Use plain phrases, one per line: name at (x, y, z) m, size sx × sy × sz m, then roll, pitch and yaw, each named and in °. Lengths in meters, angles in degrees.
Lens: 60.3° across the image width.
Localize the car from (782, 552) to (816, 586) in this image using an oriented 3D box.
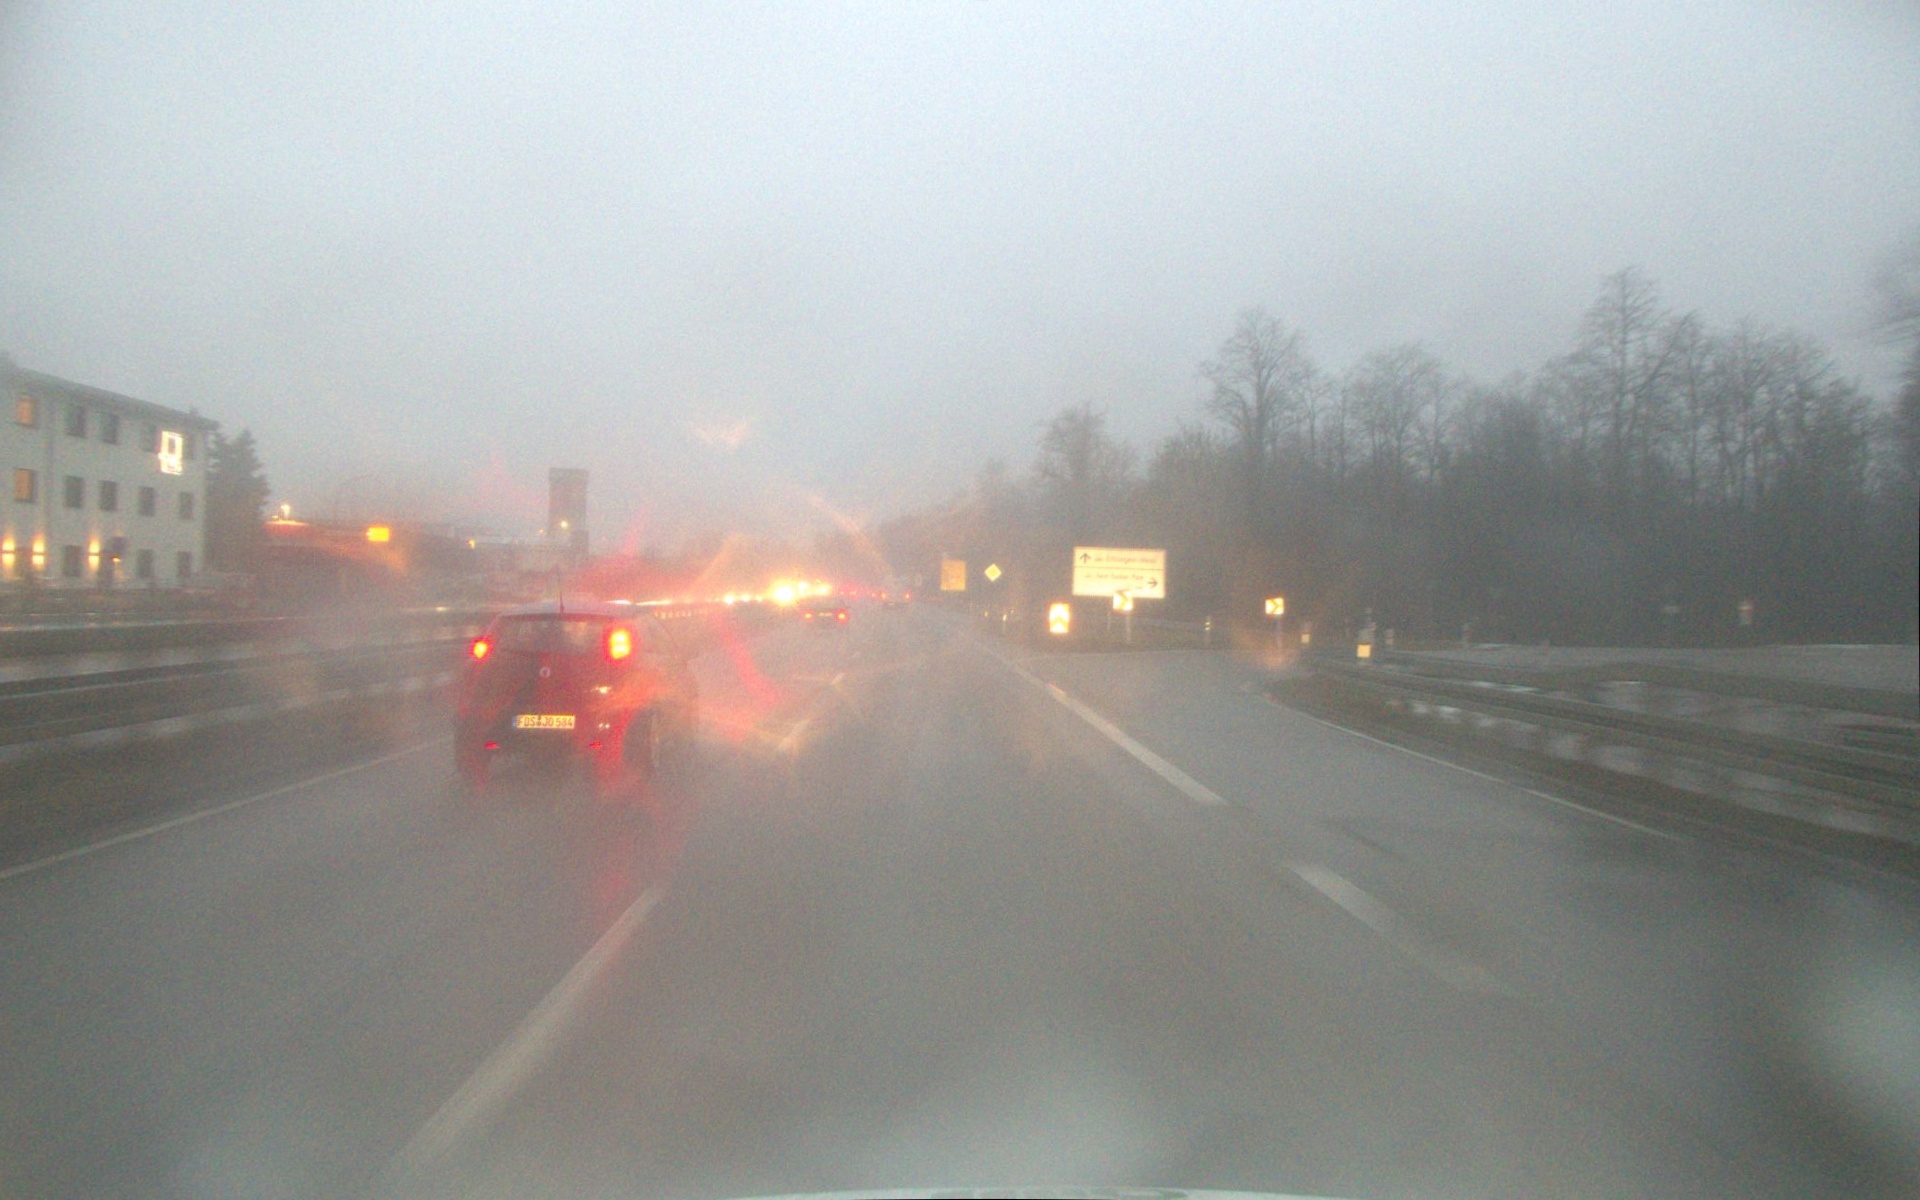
car at (-10.996, -2.105, 112.448) m, size 2.083 × 2.157 × 3.569 m, roll 3°, pitch 1°, yaw -8°

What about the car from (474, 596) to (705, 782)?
car at (-3.361, 0.740, 15.559) m, size 1.497 × 1.440 × 3.477 m, roll 3°, pitch 1°, yaw -3°

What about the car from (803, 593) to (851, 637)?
car at (-5.060, 0.545, 63.373) m, size 1.741 × 1.561 × 4.699 m, roll 1°, pitch 0°, yaw -4°

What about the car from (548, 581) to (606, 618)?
car at (-15.513, -0.034, 67.070) m, size 1.577 × 1.424 × 3.619 m, roll 1°, pitch 1°, yaw -2°

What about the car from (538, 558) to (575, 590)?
car at (-25.134, -1.588, 103.242) m, size 1.856 × 1.853 × 3.865 m, roll 4°, pitch 0°, yaw -10°
